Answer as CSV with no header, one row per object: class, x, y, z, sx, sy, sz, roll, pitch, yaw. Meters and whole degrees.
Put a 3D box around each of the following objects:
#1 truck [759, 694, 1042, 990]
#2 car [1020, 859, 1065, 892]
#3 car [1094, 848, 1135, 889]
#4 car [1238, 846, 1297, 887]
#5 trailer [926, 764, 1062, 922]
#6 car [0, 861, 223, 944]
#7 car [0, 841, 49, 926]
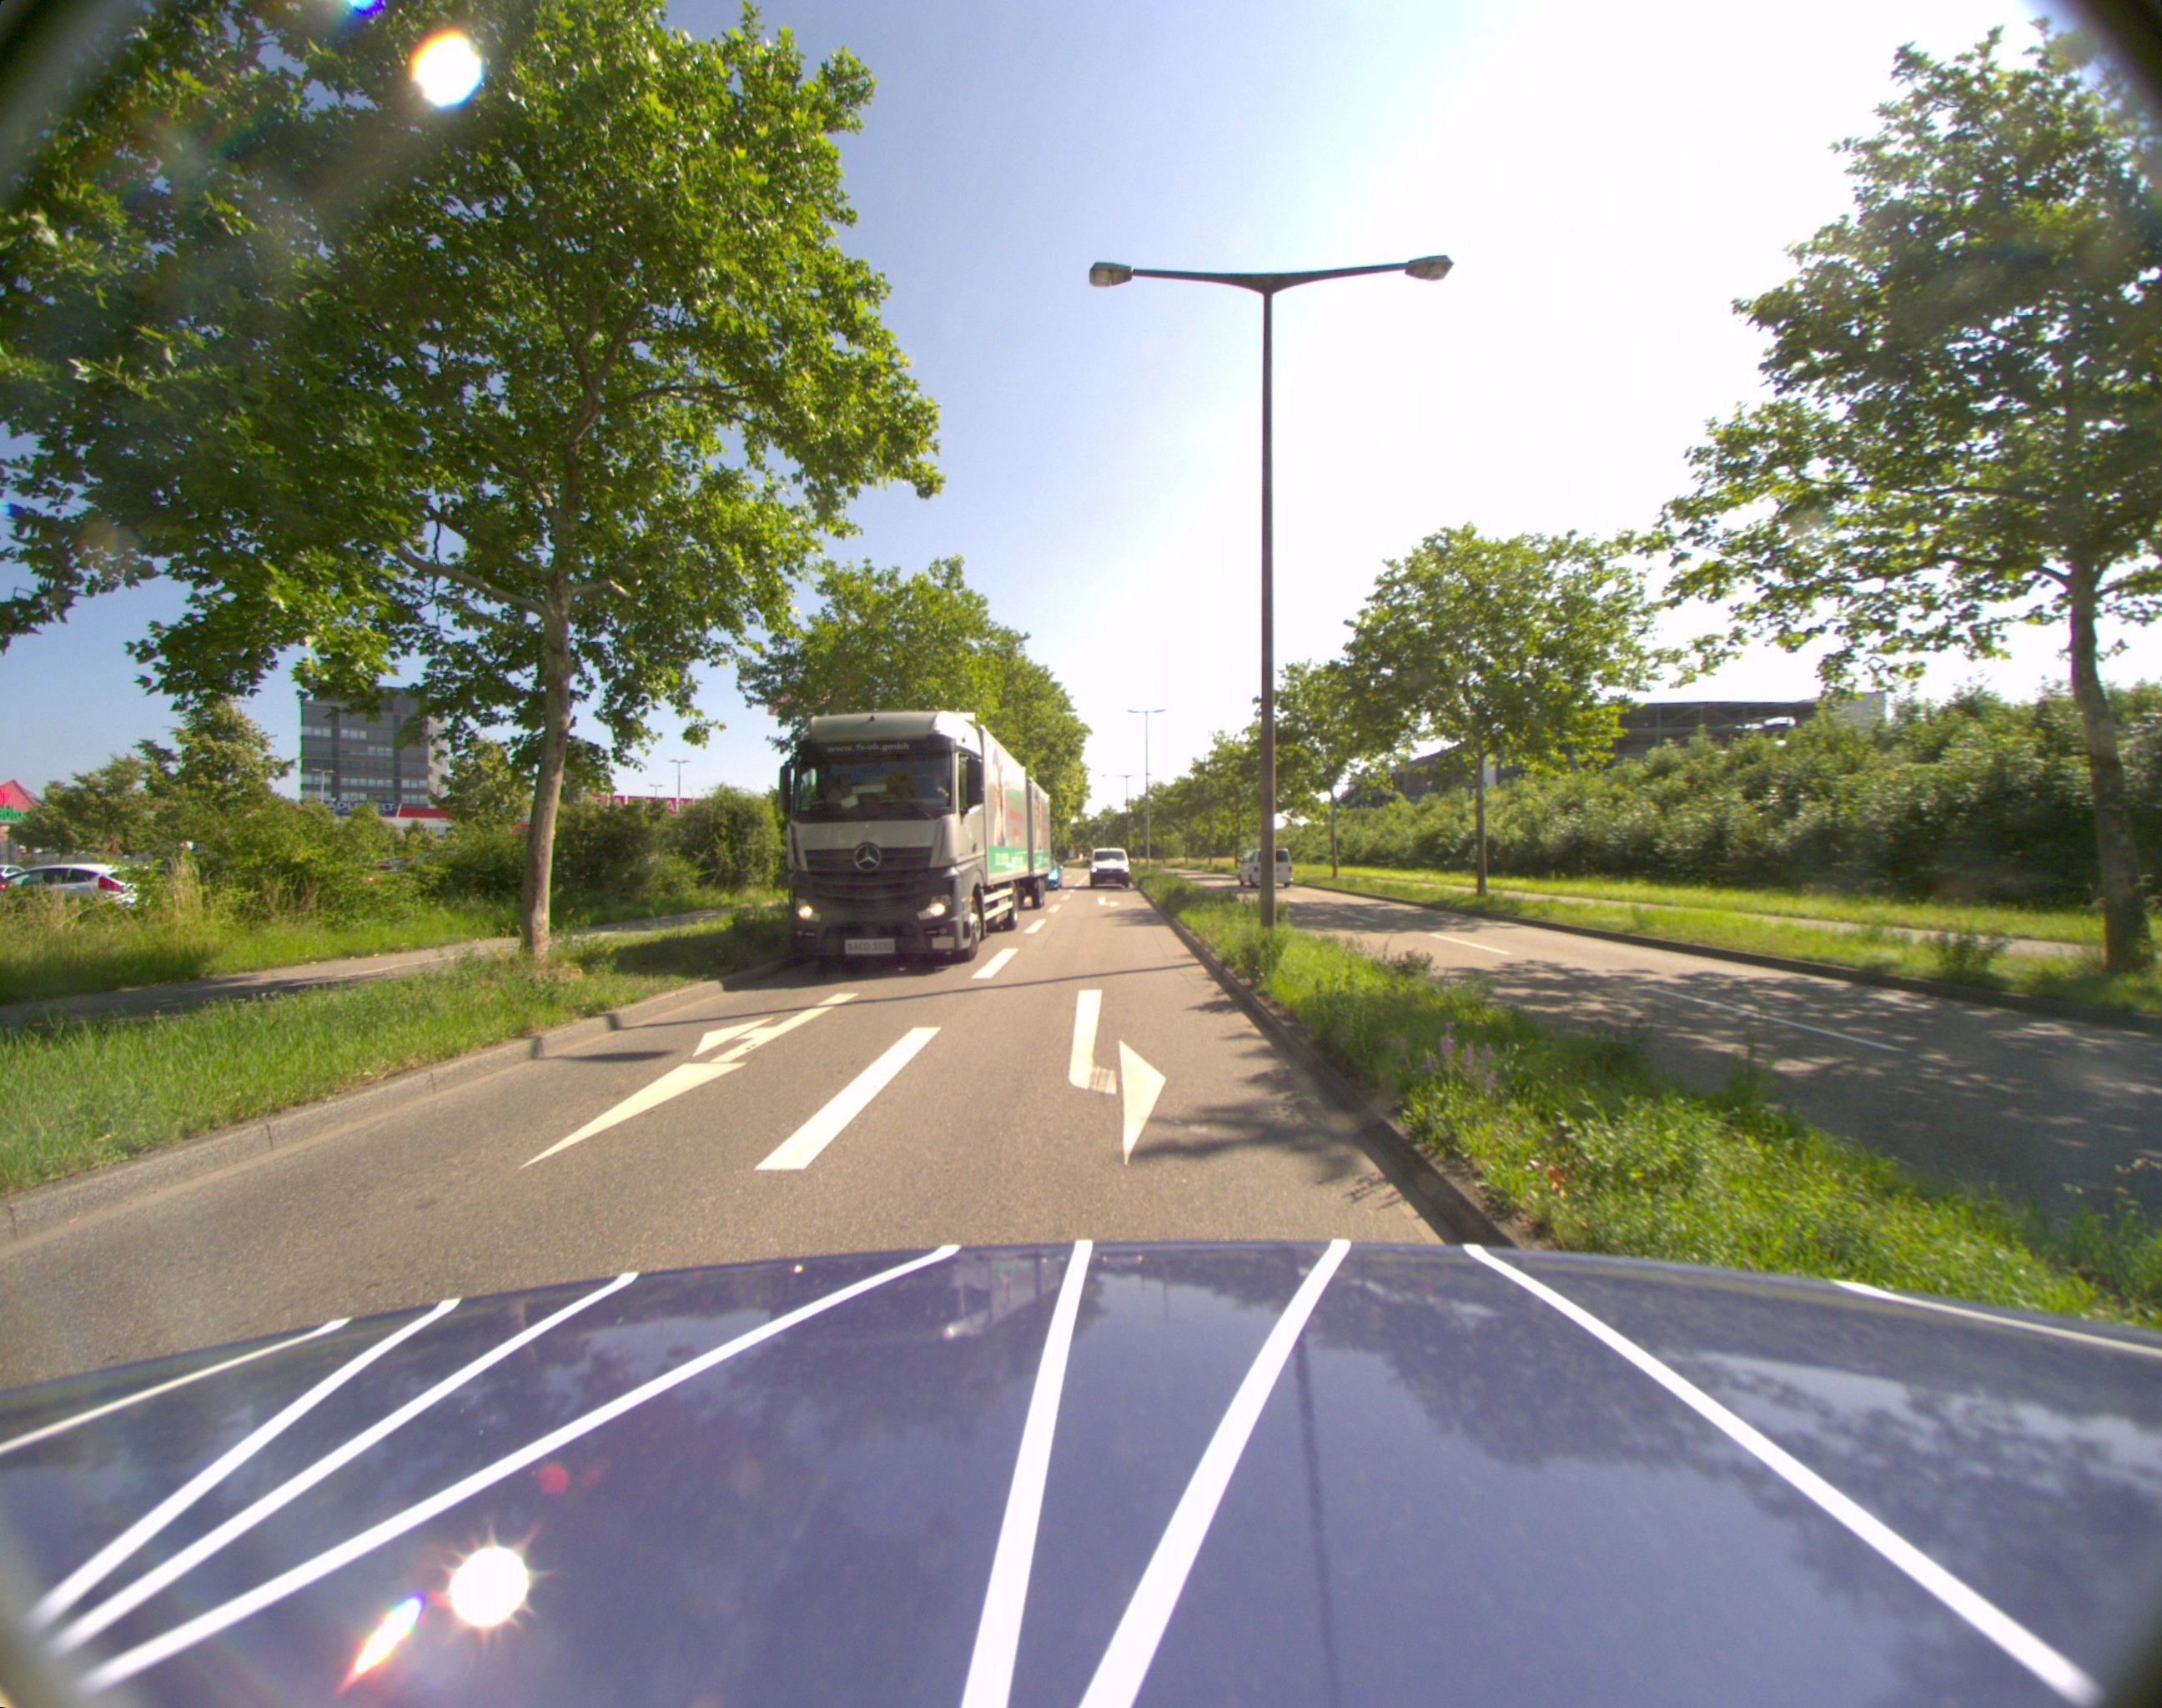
truck,-2.619,-0.199,14.390,2.735,3.867,8.723,-1,1,3
car,-1.764,0.966,36.191,1.872,1.412,4.130,0,0,1
car,1.575,0.658,37.204,1.872,1.889,4.881,0,0,1
car,9.185,0.566,37.792,1.998,1.887,4.575,1,0,3
trailer,-2.249,-0.306,22.607,2.743,3.854,7.736,-1,1,3
car,-22.132,1.049,16.758,4.083,1.582,1.880,-2,1,-2
car,-22.155,0.628,13.764,4.083,1.582,1.880,-2,1,-2
